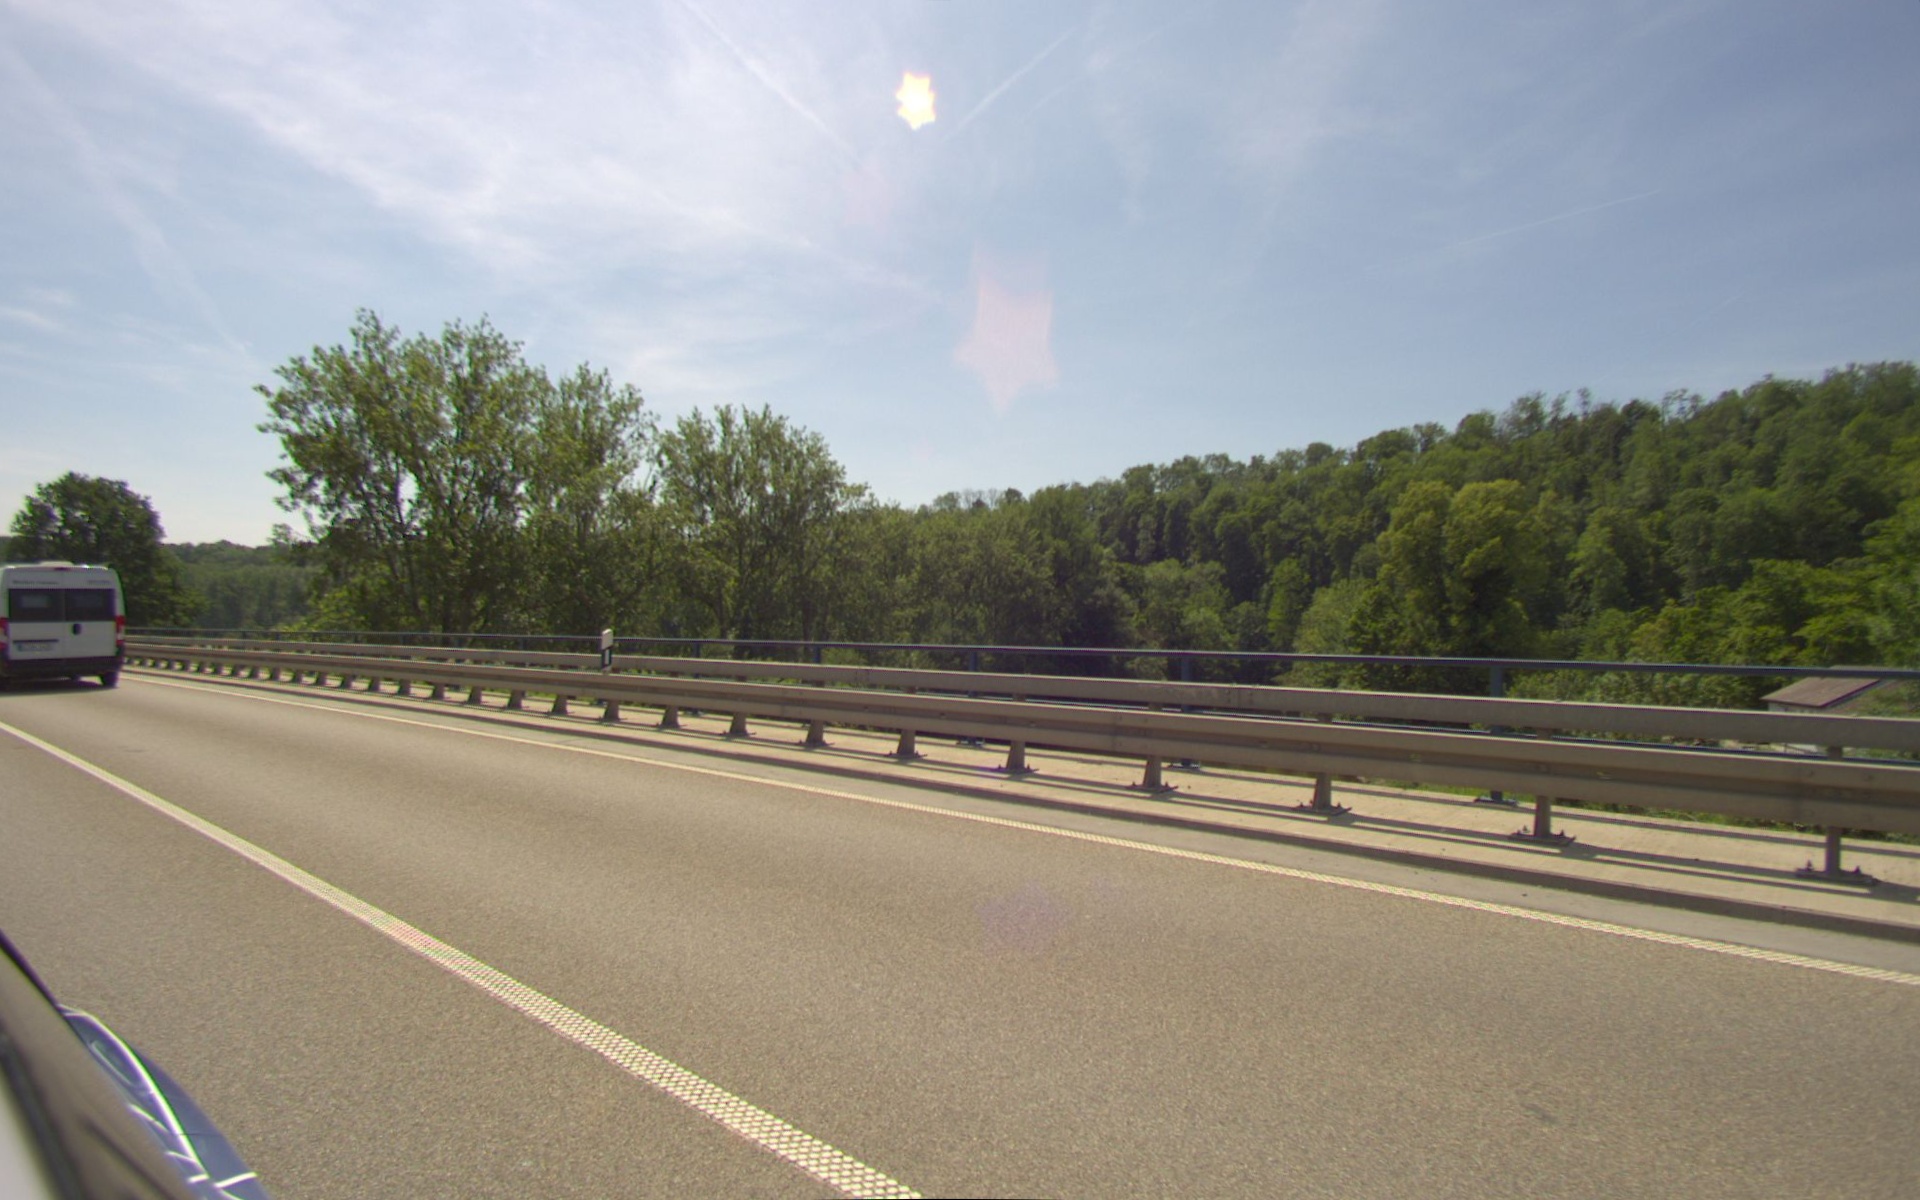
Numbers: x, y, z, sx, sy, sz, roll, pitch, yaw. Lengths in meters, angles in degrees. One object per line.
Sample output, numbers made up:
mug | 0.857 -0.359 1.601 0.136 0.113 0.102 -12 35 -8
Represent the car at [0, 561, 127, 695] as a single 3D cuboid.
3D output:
car | -20.088 0.537 21.948 5.793 2.578 2.157 0 0 40
